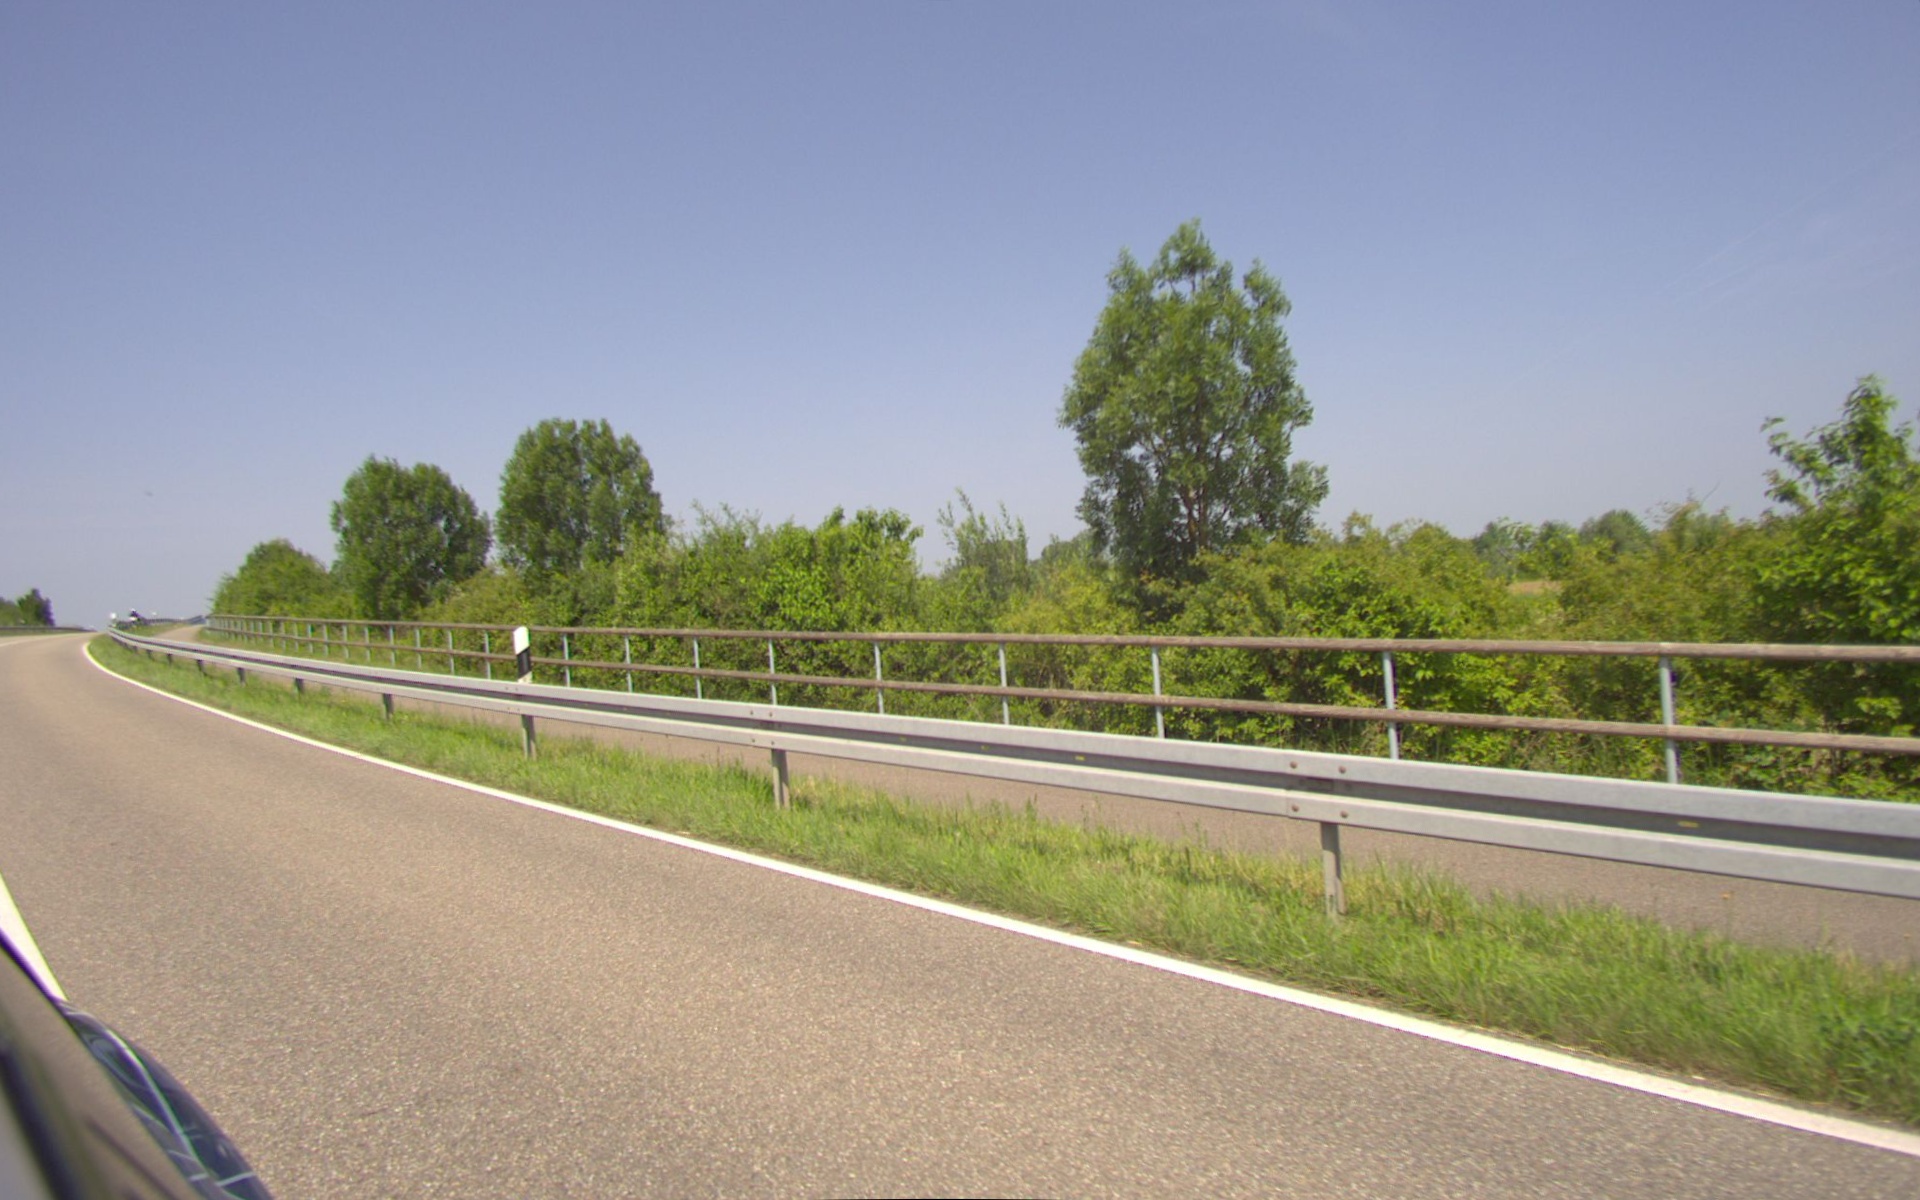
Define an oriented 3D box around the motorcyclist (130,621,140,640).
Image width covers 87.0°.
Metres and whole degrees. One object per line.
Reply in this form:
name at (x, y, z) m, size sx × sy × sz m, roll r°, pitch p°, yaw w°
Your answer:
motorcyclist at (-70.302, 2.619, 86.256) m, size 0.646 × 1.574 × 0.777 m, roll 0°, pitch -1°, yaw -39°
